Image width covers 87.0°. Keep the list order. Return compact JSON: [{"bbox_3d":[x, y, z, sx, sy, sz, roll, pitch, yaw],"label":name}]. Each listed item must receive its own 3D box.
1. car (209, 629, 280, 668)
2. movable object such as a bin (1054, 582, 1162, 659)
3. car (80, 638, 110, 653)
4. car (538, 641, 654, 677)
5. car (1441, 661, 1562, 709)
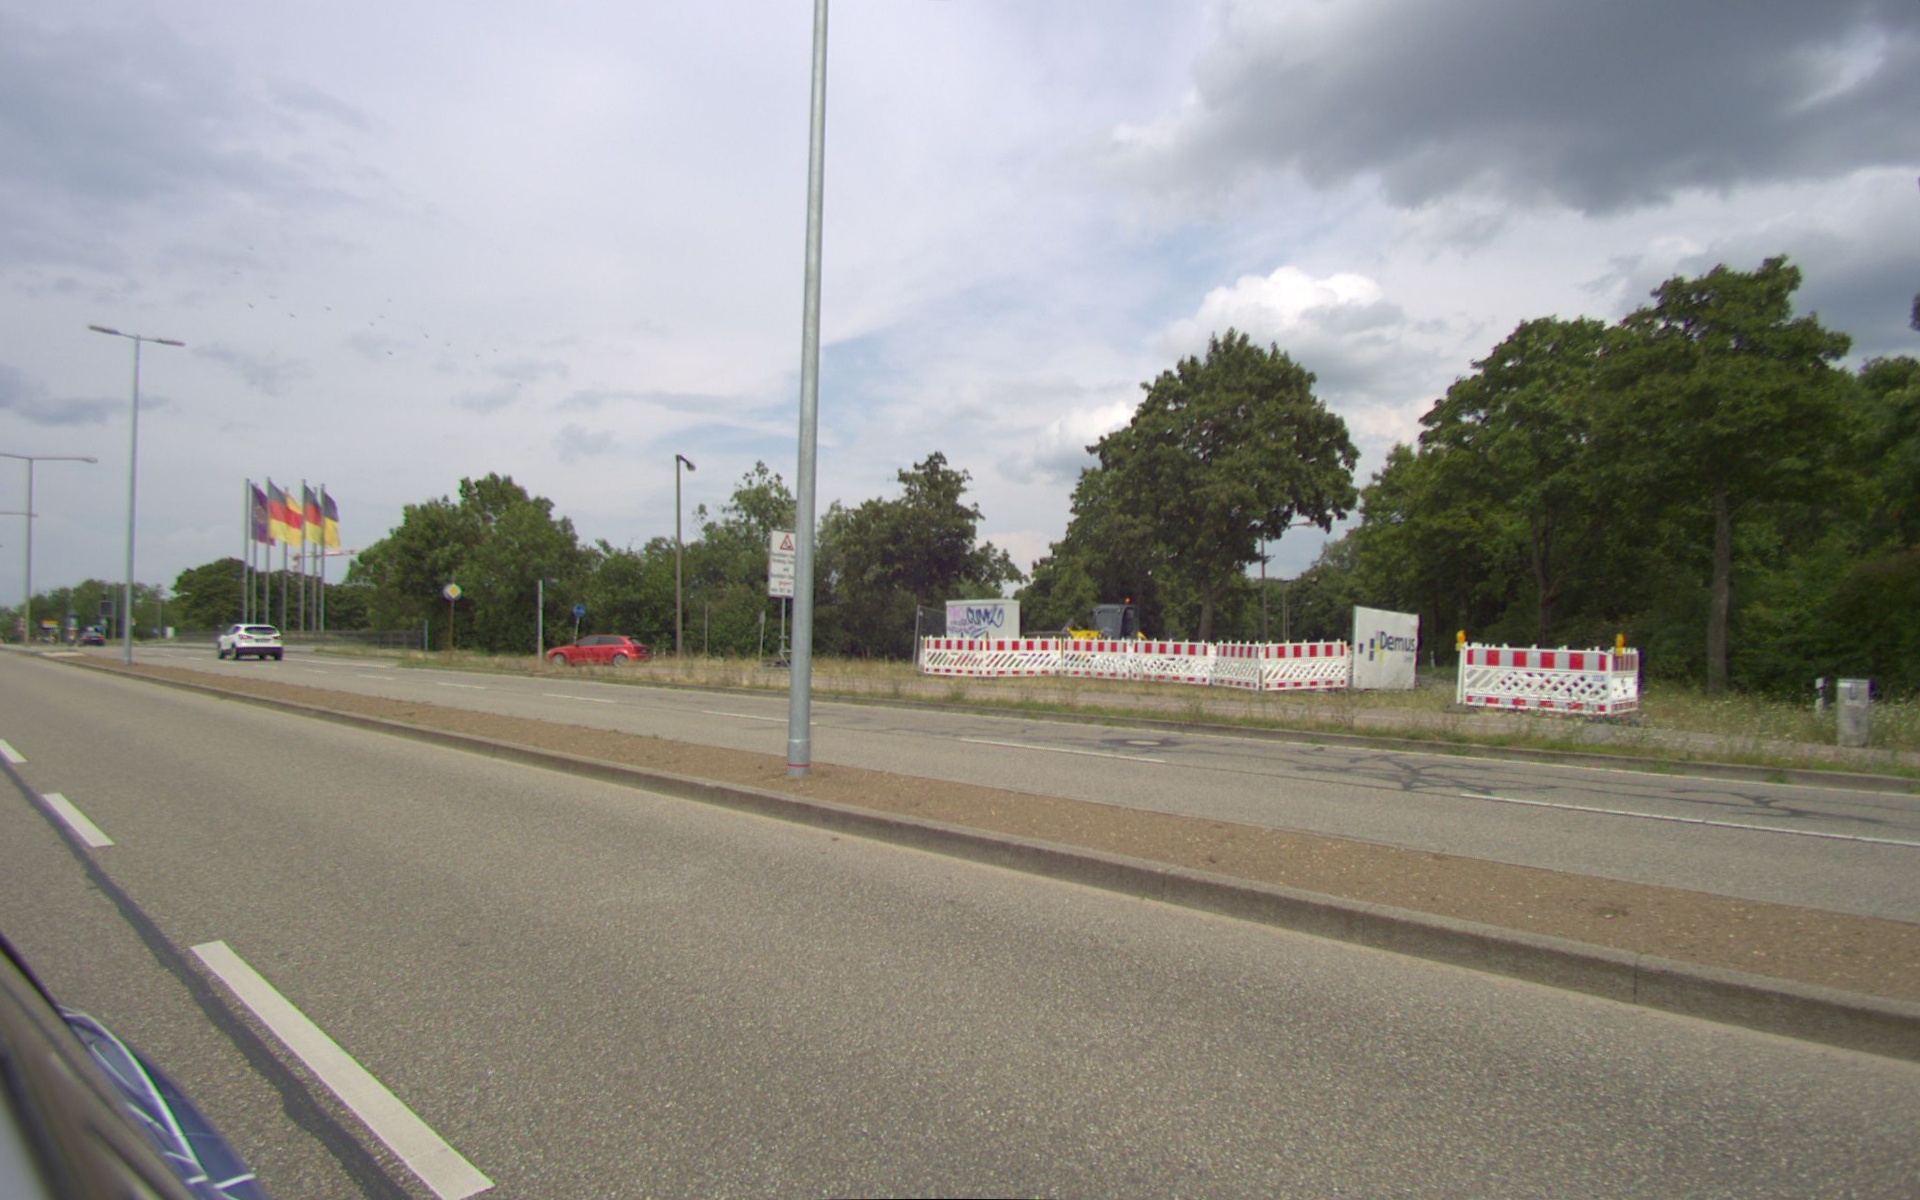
[{"bbox_3d":[-31.709,2.165,44.814,4.383,1.641,1.676,-3,-3,43],"label":"car"},{"bbox_3d":[5.118,0.721,34.444,1.993,2.415,4.544,-2,-3,31],"label":"movable object such as a bin"},{"bbox_3d":[-85.706,4.535,100.286,1.970,1.384,4.580,3,-4,-44],"label":"car"},{"bbox_3d":[-15.205,2.471,42.380,4.240,1.384,1.780,-1,-2,3],"label":"car"},{"bbox_3d":[17.267,2.678,32.447,1.689,1.335,3.488,-1,-2,-7],"label":"car"}]
